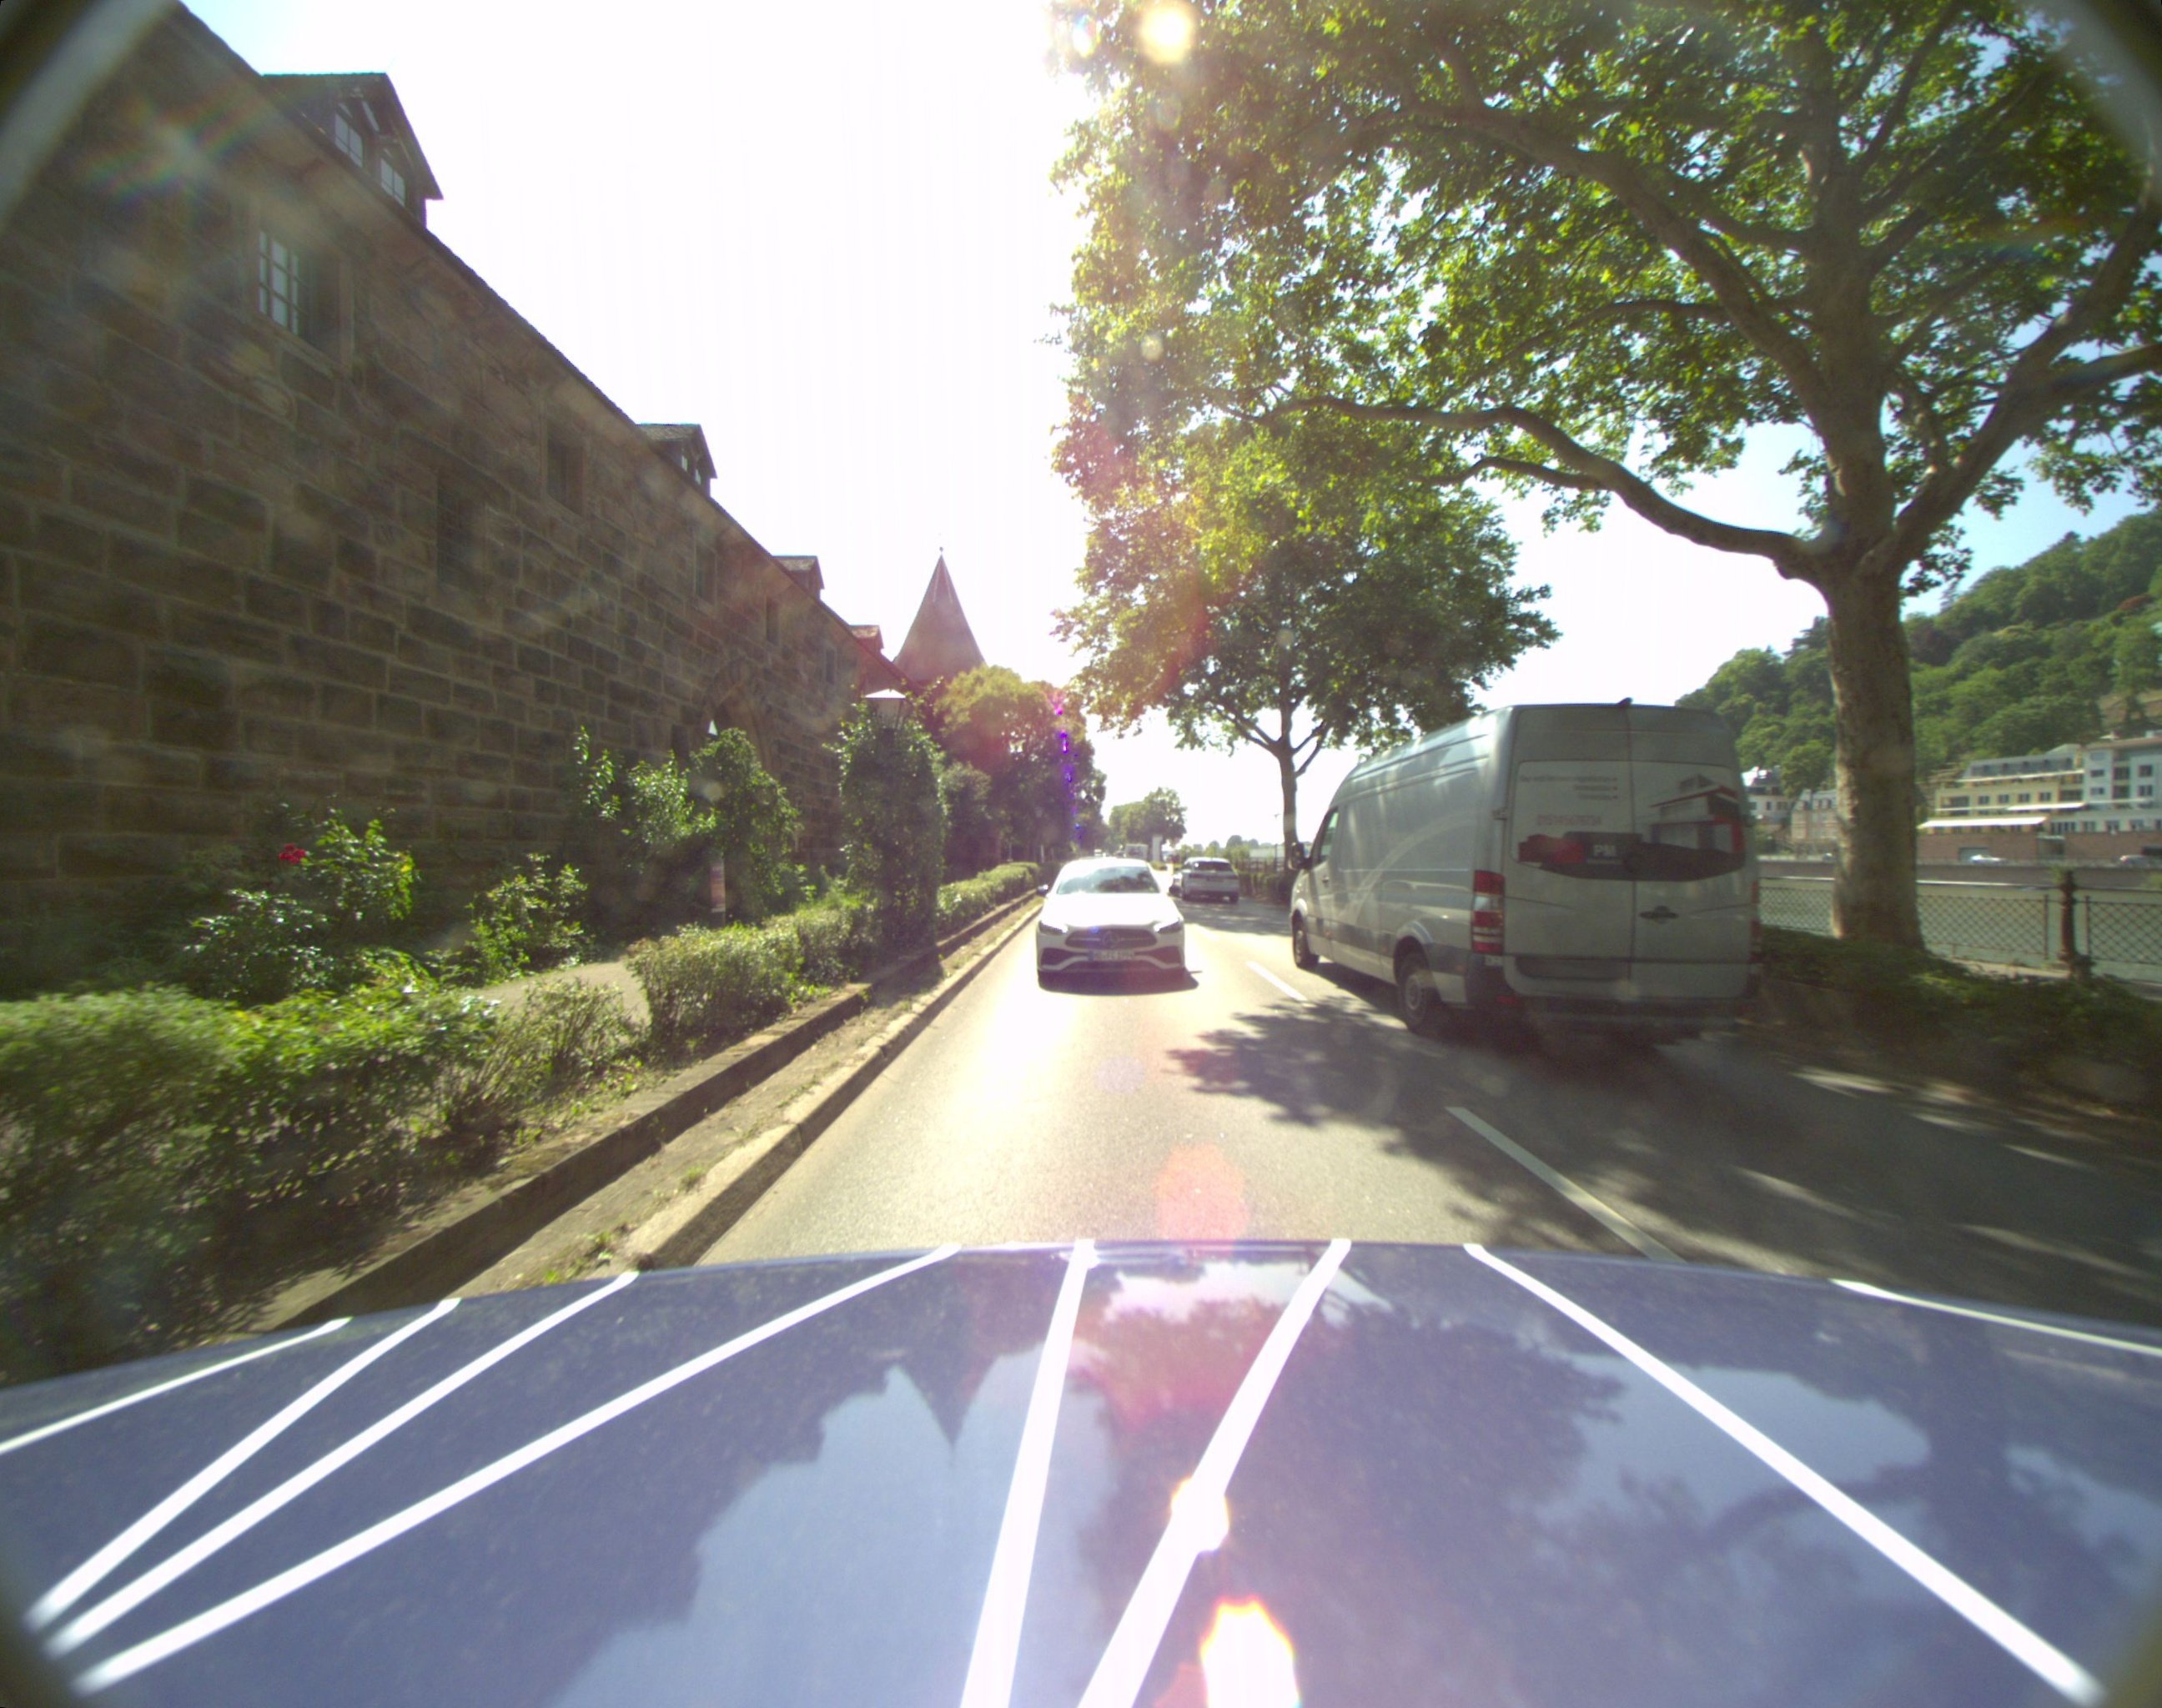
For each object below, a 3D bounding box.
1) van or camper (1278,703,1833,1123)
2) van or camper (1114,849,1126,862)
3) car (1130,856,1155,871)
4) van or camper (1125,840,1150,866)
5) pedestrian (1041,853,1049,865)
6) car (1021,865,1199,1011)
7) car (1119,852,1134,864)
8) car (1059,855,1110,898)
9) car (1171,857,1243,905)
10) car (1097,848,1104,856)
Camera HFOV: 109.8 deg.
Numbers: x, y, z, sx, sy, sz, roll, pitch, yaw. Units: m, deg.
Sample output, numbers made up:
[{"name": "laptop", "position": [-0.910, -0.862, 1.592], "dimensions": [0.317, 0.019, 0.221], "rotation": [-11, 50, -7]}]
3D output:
[{"name": "van or camper", "position": [3.708, 0.341, 7.675], "dimensions": [1.965, 2.552, 5.840], "rotation": [2, 1, 2]}, {"name": "van or camper", "position": [6.318, 0.258, 123.475], "dimensions": [1.922, 1.975, 4.000], "rotation": [1, 0, 1]}, {"name": "car", "position": [5.355, 0.780, 66.556], "dimensions": [1.703, 1.204, 3.485], "rotation": [1, 0, -2]}, {"name": "van or camper", "position": [6.248, -0.150, 84.197], "dimensions": [2.328, 2.647, 6.264], "rotation": [2, 1, 1]}, {"name": "pedestrian", "position": [-3.488, 0.492, 72.959], "dimensions": [0.632, 1.186, 0.747], "rotation": [-2, 1, 4]}, {"name": "car", "position": [0.357, 0.911, 10.084], "dimensions": [1.829, 1.418, 4.359], "rotation": [-1, 0, 1]}, {"name": "car", "position": [6.248, 0.523, 104.448], "dimensions": [1.825, 1.603, 3.960], "rotation": [1, 0, 2]}, {"name": "car", "position": [0.209, 0.835, 30.067], "dimensions": [1.853, 1.543, 3.848], "rotation": [1, 0, 2]}, {"name": "car", "position": [4.304, 0.879, 26.556], "dimensions": [1.774, 1.448, 4.534], "rotation": [1, 0, 0]}, {"name": "car", "position": [5.444, -0.526, 210.495], "dimensions": [1.922, 1.976, 4.000], "rotation": [2, 1, 1]}]
